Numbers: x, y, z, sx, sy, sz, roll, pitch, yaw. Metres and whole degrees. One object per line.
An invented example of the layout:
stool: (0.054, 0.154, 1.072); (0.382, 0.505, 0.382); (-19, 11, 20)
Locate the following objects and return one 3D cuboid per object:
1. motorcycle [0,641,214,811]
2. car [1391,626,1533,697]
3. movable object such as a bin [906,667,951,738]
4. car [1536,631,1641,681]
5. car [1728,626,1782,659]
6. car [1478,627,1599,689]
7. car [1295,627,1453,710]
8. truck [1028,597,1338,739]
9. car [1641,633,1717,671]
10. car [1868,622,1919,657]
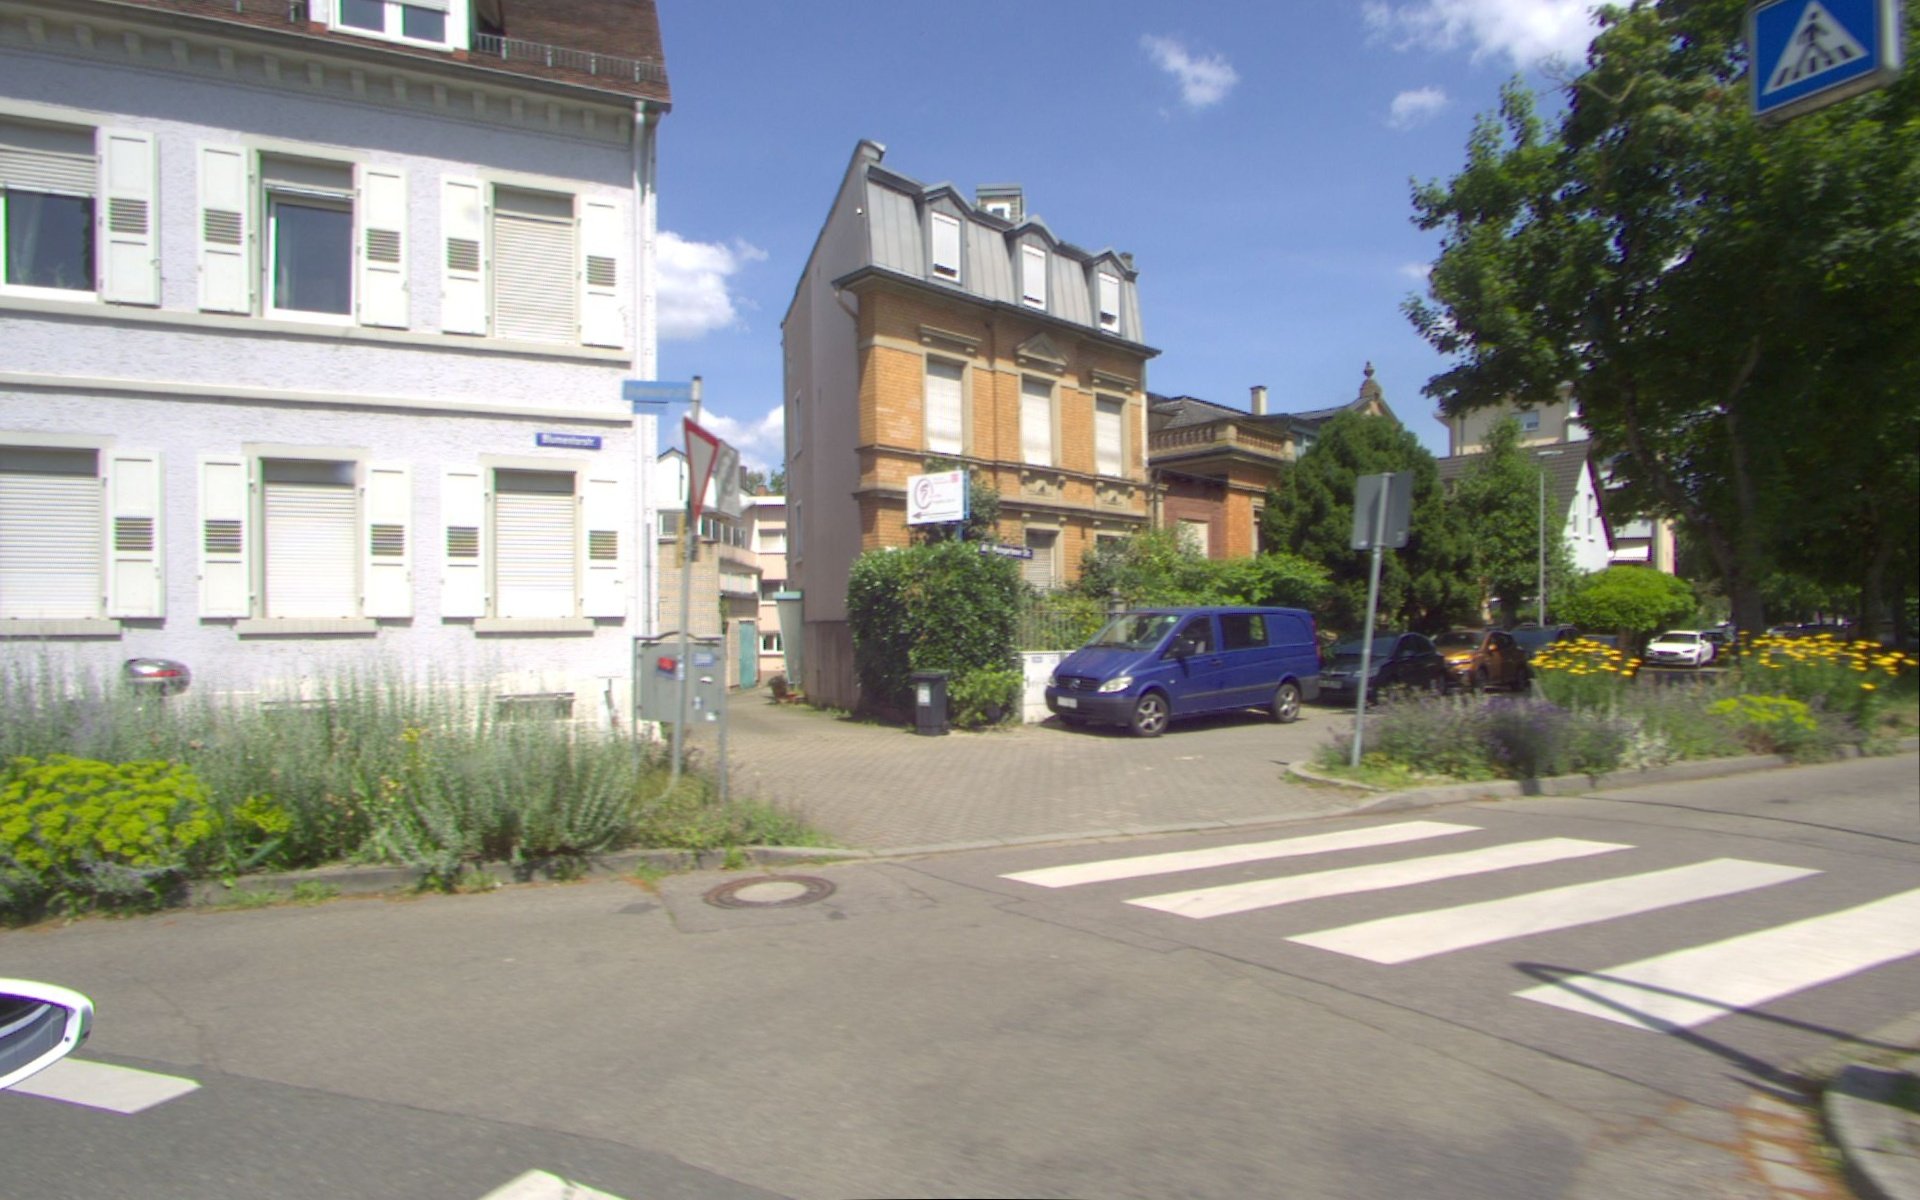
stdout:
motorcycle: (-7.960, 1.063, 8.647); (2.296, 1.369, 0.801); (0, -1, -16)
car: (12.253, 1.422, 24.357); (3.959, 1.578, 1.823); (1, -2, -43)
movable object such as a bin: (-0.464, 1.468, 14.492); (0.622, 0.973, 0.617); (0, -1, -3)
car: (19.806, 1.713, 31.511); (3.959, 1.475, 1.823); (1, -2, -43)
car: (44.098, 2.315, 55.519); (3.962, 1.757, 1.822); (2, -2, -44)
car: (16.082, 1.541, 27.781); (3.959, 1.578, 1.823); (1, -2, -43)
car: (8.688, 1.351, 20.858); (3.818, 1.546, 1.697); (2, -1, -45)
truck: (3.714, 0.991, 16.173); (5.216, 1.952, 1.902); (1, 0, -36)
car: (28.814, 2.033, 40.088); (3.962, 1.456, 1.822); (2, -2, -44)
car: (53.347, 2.188, 55.564); (1.894, 1.884, 3.987); (0, -1, -24)
